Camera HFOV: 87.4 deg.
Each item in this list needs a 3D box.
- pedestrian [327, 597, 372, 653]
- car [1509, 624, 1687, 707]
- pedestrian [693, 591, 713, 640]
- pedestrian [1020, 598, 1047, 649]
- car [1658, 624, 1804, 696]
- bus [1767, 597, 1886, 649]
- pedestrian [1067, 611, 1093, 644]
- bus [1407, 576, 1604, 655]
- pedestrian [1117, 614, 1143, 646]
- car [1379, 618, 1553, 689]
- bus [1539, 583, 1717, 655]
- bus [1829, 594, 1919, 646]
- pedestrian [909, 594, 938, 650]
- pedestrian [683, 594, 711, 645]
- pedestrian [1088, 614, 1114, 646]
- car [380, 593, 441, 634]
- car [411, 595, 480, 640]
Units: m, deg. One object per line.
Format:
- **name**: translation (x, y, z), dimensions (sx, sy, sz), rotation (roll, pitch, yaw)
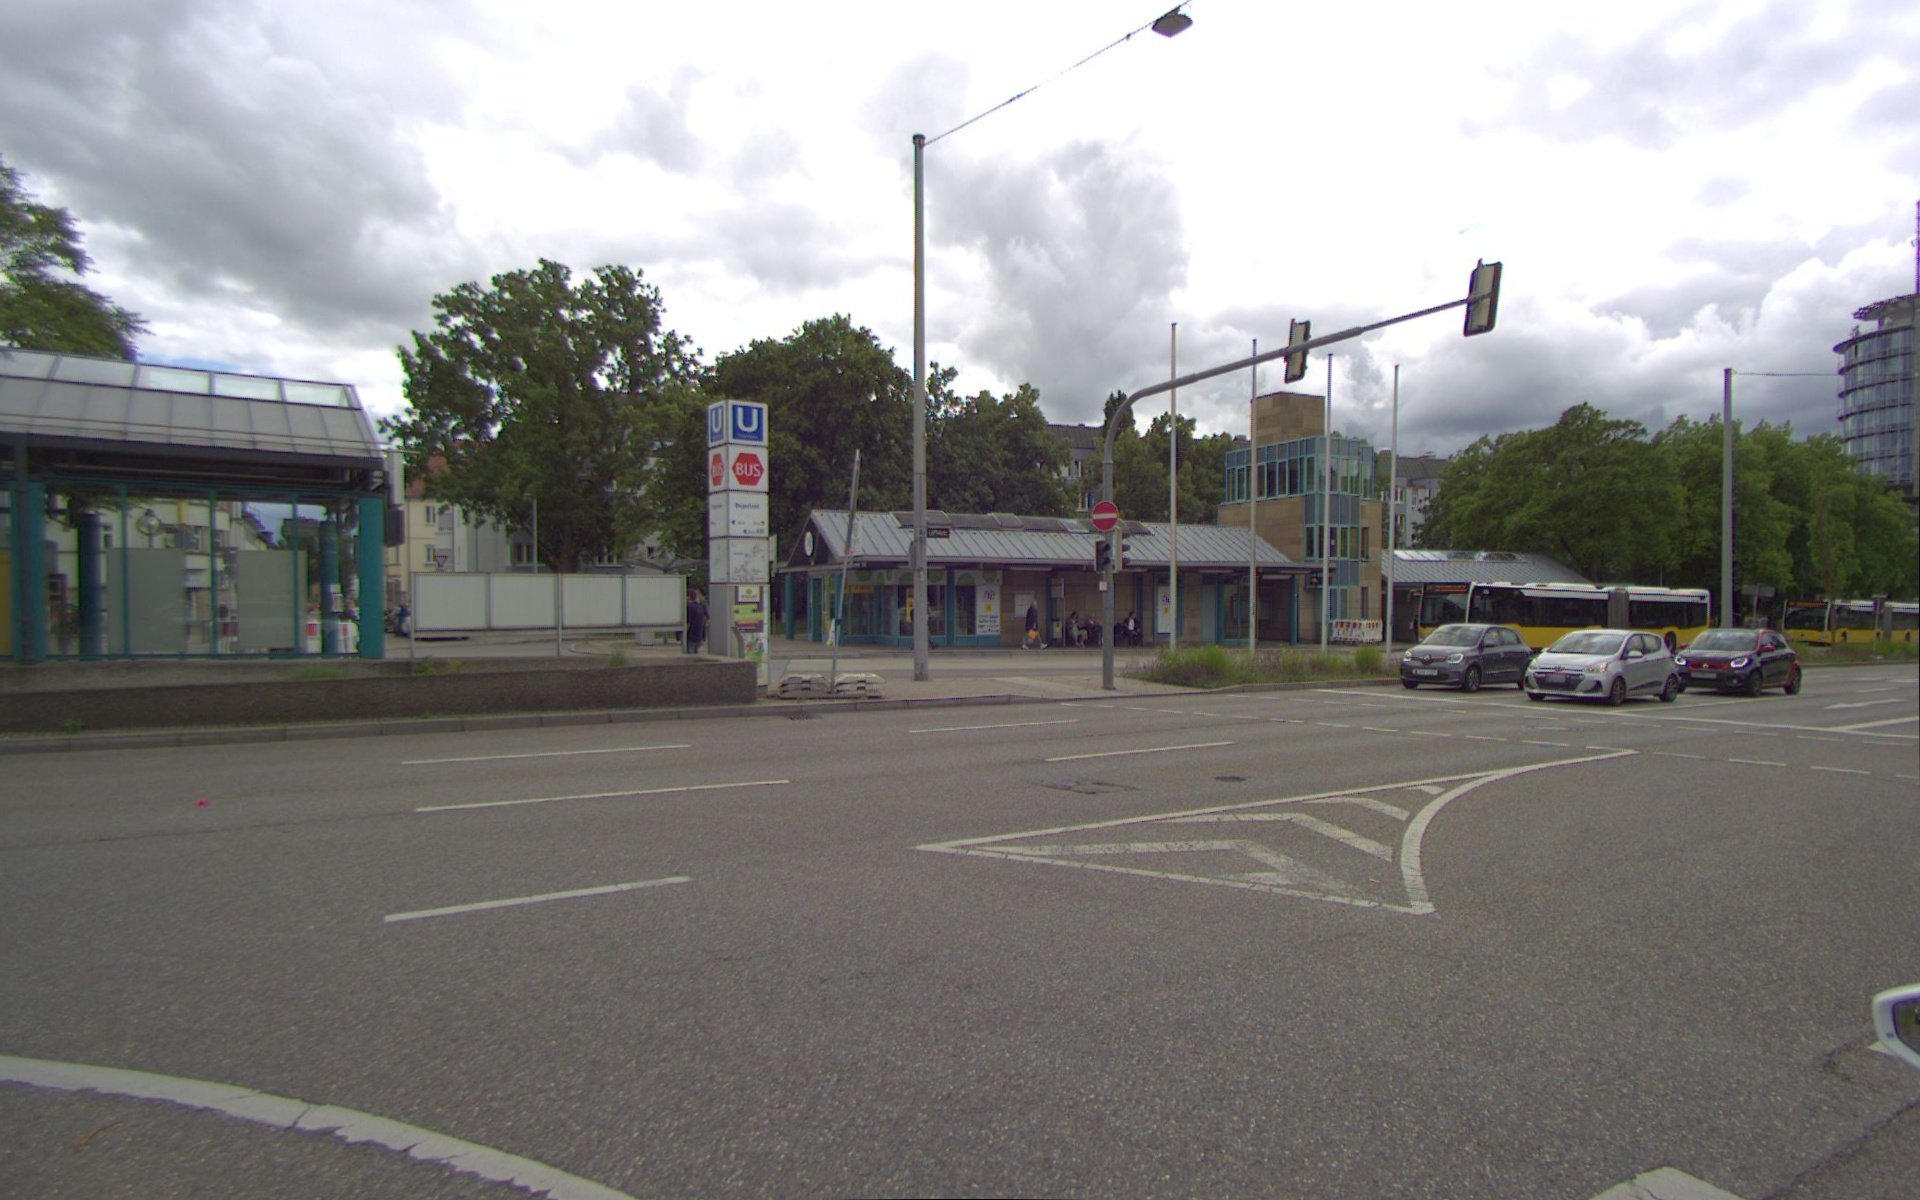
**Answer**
- **pedestrian**: translation (-16.412, 0.679, 27.022), dimensions (0.981, 1.480, 0.587), rotation (1, 0, -31)
- **car**: translation (13.219, 1.281, 20.768), dimensions (3.750, 1.485, 1.735), rotation (1, 0, -34)
- **pedestrian**: translation (-8.304, 0.490, 32.422), dimensions (0.475, 1.568, 0.384), rotation (1, 0, 14)
- **pedestrian**: translation (2.467, 0.776, 33.661), dimensions (0.650, 1.671, 0.617), rotation (2, 0, -30)
- **car**: translation (18.201, 1.378, 23.674), dimensions (3.730, 1.528, 1.648), rotation (2, -1, -34)
- **bus**: translation (58.557, 1.576, 67.769), dimensions (10.620, 3.205, 3.066), rotation (1, 1, -33)
- **pedestrian**: translation (4.214, 0.979, 35.400), dimensions (0.650, 1.136, 0.617), rotation (2, -1, -30)
- **bus**: translation (23.954, 0.705, 43.952), dimensions (9.318, 3.174, 2.765), rotation (1, 1, -28)
- **pedestrian**: translation (6.193, 1.089, 36.577), dimensions (0.650, 1.136, 0.617), rotation (2, -1, -30)
- **car**: translation (11.979, 1.244, 23.734), dimensions (3.953, 1.528, 1.806), rotation (2, -1, -30)
- **bus**: translation (32.050, 0.942, 48.097), dimensions (9.177, 3.174, 2.799), rotation (1, 2, -26)
- **bus**: translation (67.326, 1.510, 73.239), dimensions (9.797, 3.502, 3.015), rotation (1, 1, -31)
- **pedestrian**: translation (-1.114, 0.667, 30.646), dimensions (0.650, 1.671, 0.617), rotation (2, 0, -30)
- **pedestrian**: translation (-8.264, 0.619, 31.523), dimensions (0.520, 1.568, 0.754), rotation (1, 0, 14)
- **pedestrian**: translation (5.022, 1.068, 35.867), dimensions (0.650, 1.136, 0.617), rotation (2, -1, -30)
- **car**: translation (-25.611, 0.596, 46.796), dimensions (1.981, 1.706, 3.958), rotation (1, 1, -36)
- **car**: translation (-21.837, 0.697, 42.561), dimensions (1.981, 1.706, 3.958), rotation (1, 1, -36)
